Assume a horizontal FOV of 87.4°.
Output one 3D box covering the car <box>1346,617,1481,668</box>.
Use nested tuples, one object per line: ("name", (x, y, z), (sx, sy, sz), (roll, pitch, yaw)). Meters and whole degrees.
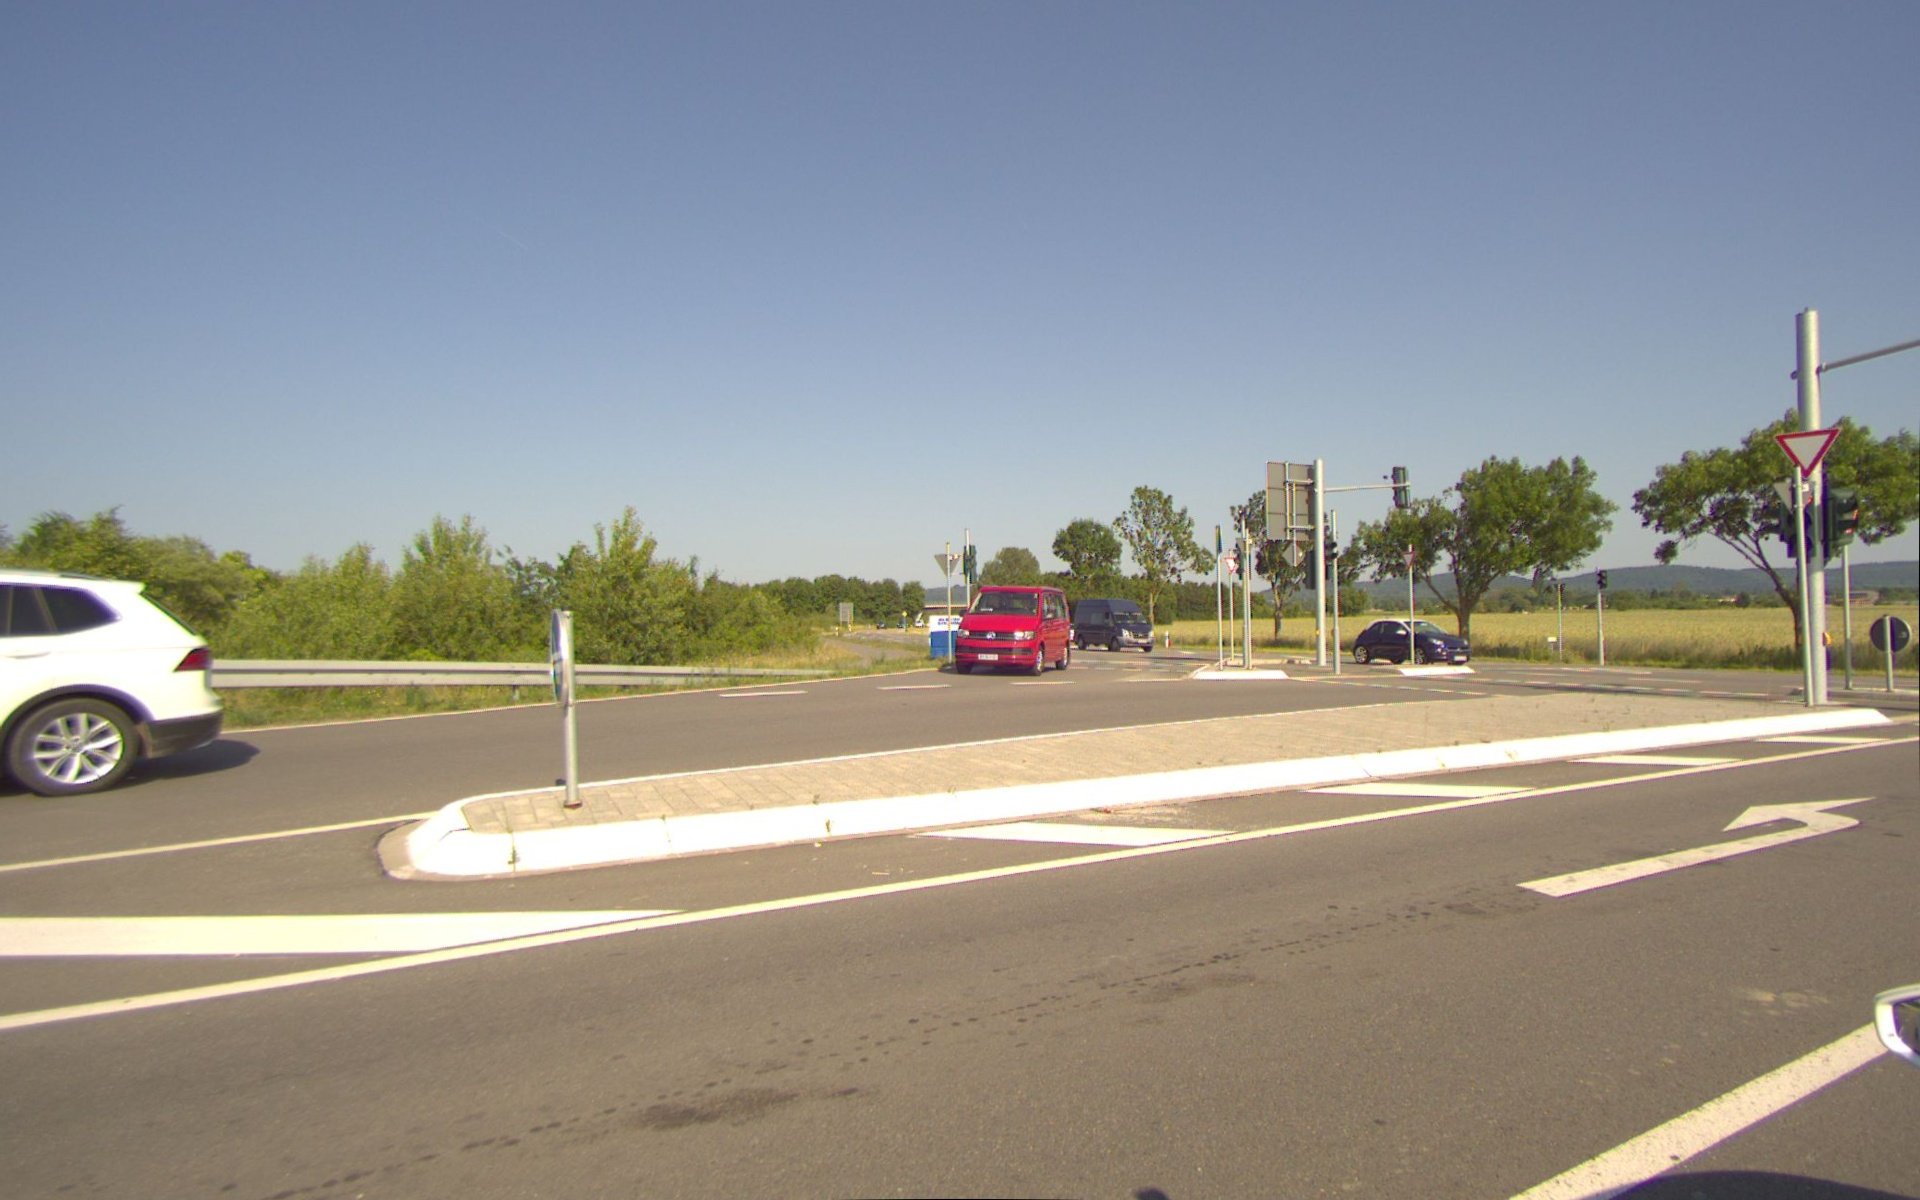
("car", (14.033, 1.300, 31.323), (1.702, 1.476, 3.723), (-1, -1, -20))

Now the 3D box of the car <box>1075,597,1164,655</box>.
("car", (7.756, 1.265, 49.450), (2.001, 2.657, 5.730), (0, -1, -17))

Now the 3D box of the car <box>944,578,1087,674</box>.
("car", (1.444, 0.655, 23.413), (1.803, 1.965, 4.926), (1, -2, 22))

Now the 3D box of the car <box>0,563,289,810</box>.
("car", (-7.689, 0.550, 6.854), (1.670, 1.695, 4.845), (1, -3, 37))

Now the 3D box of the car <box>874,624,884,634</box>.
("car", (-16.055, 5.656, 198.548), (1.962, 1.746, 4.615), (1, 0, -4))
